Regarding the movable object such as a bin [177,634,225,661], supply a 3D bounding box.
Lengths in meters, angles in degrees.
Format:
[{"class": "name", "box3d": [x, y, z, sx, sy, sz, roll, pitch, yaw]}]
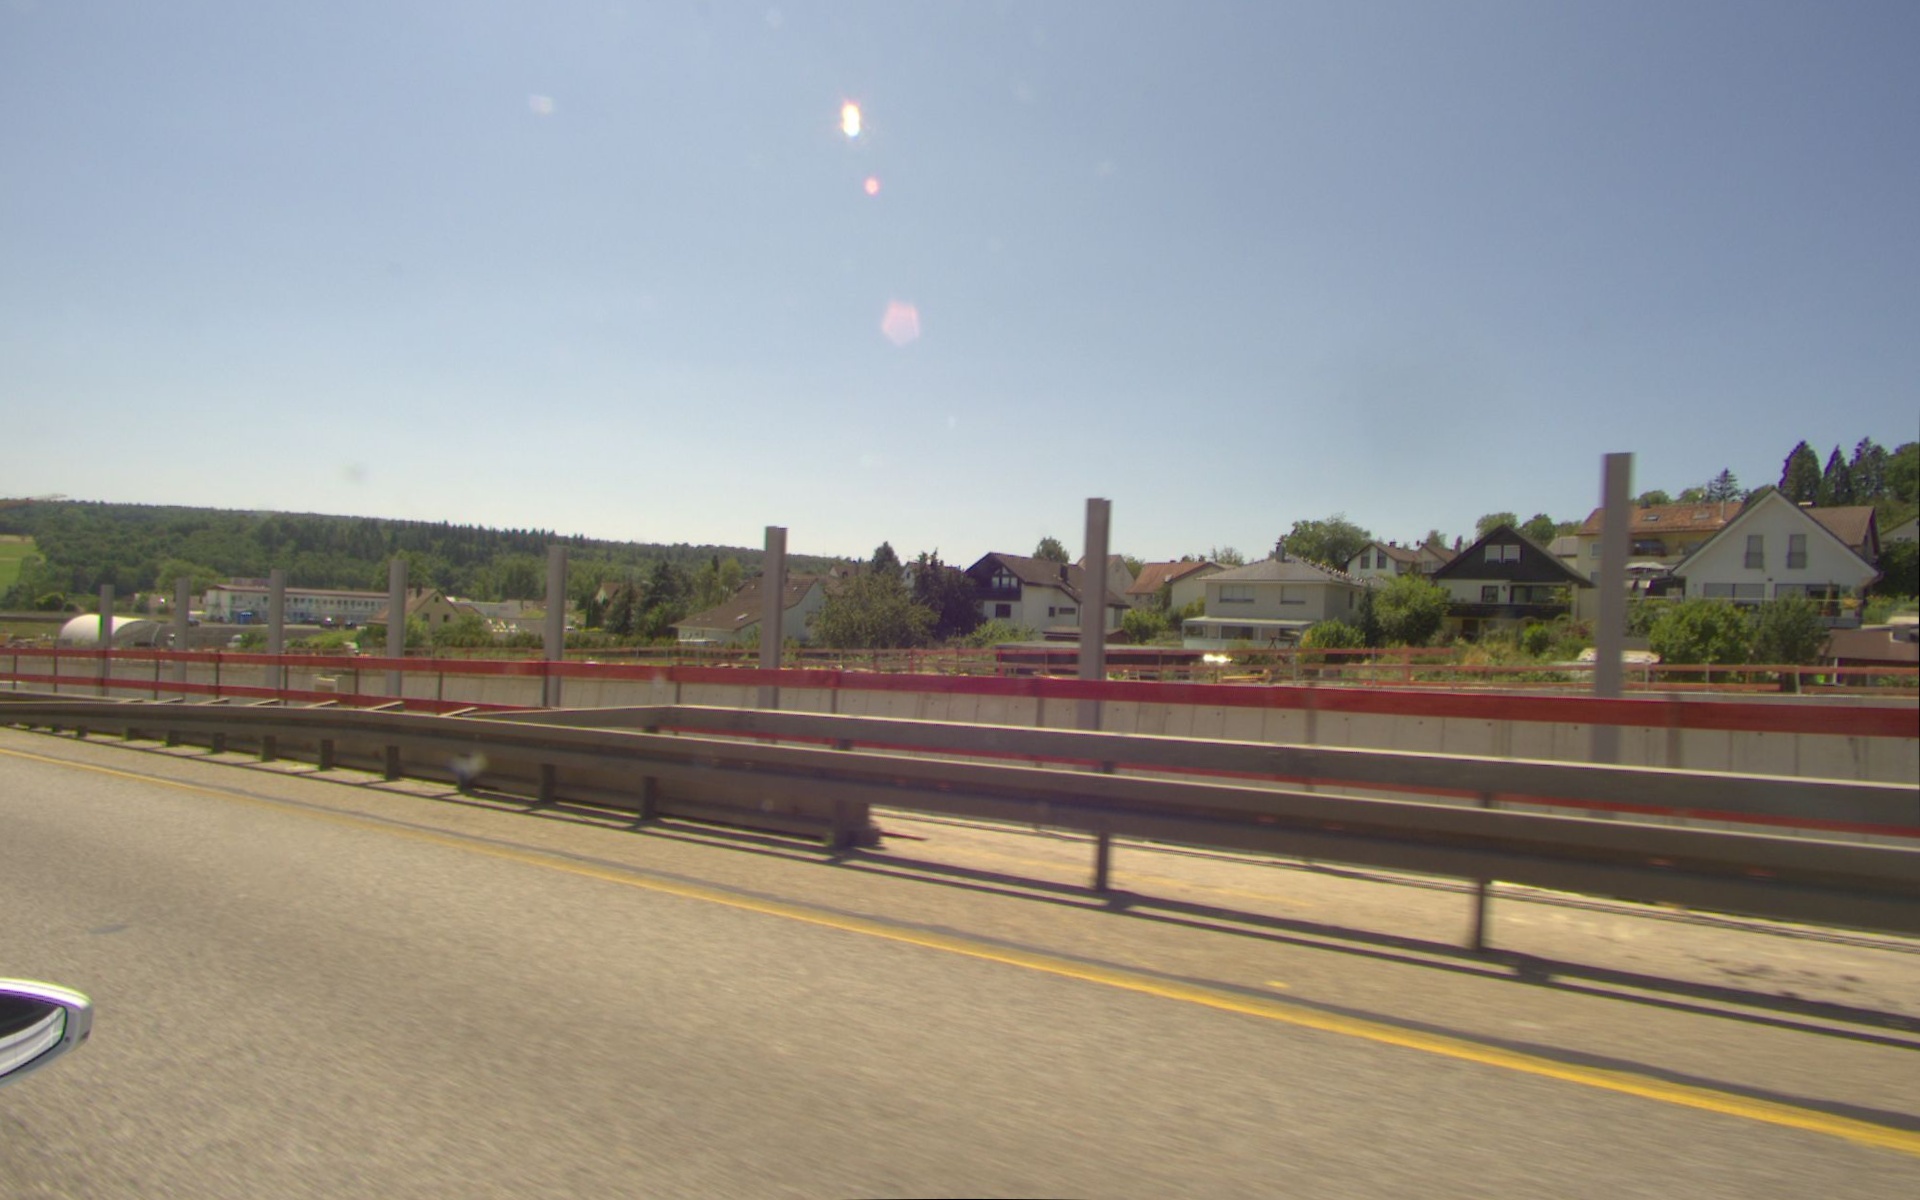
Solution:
[{"class": "movable object such as a bin", "box3d": [-64.596, 3.997, 85.187, 4.094, 2.267, 1.990, -1, -2, 33]}]

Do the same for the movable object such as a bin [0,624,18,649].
[{"class": "movable object such as a bin", "box3d": [-114.720, 4.295, 118.352, 9.347, 2.946, 2.882, -1, -2, 34]}]
